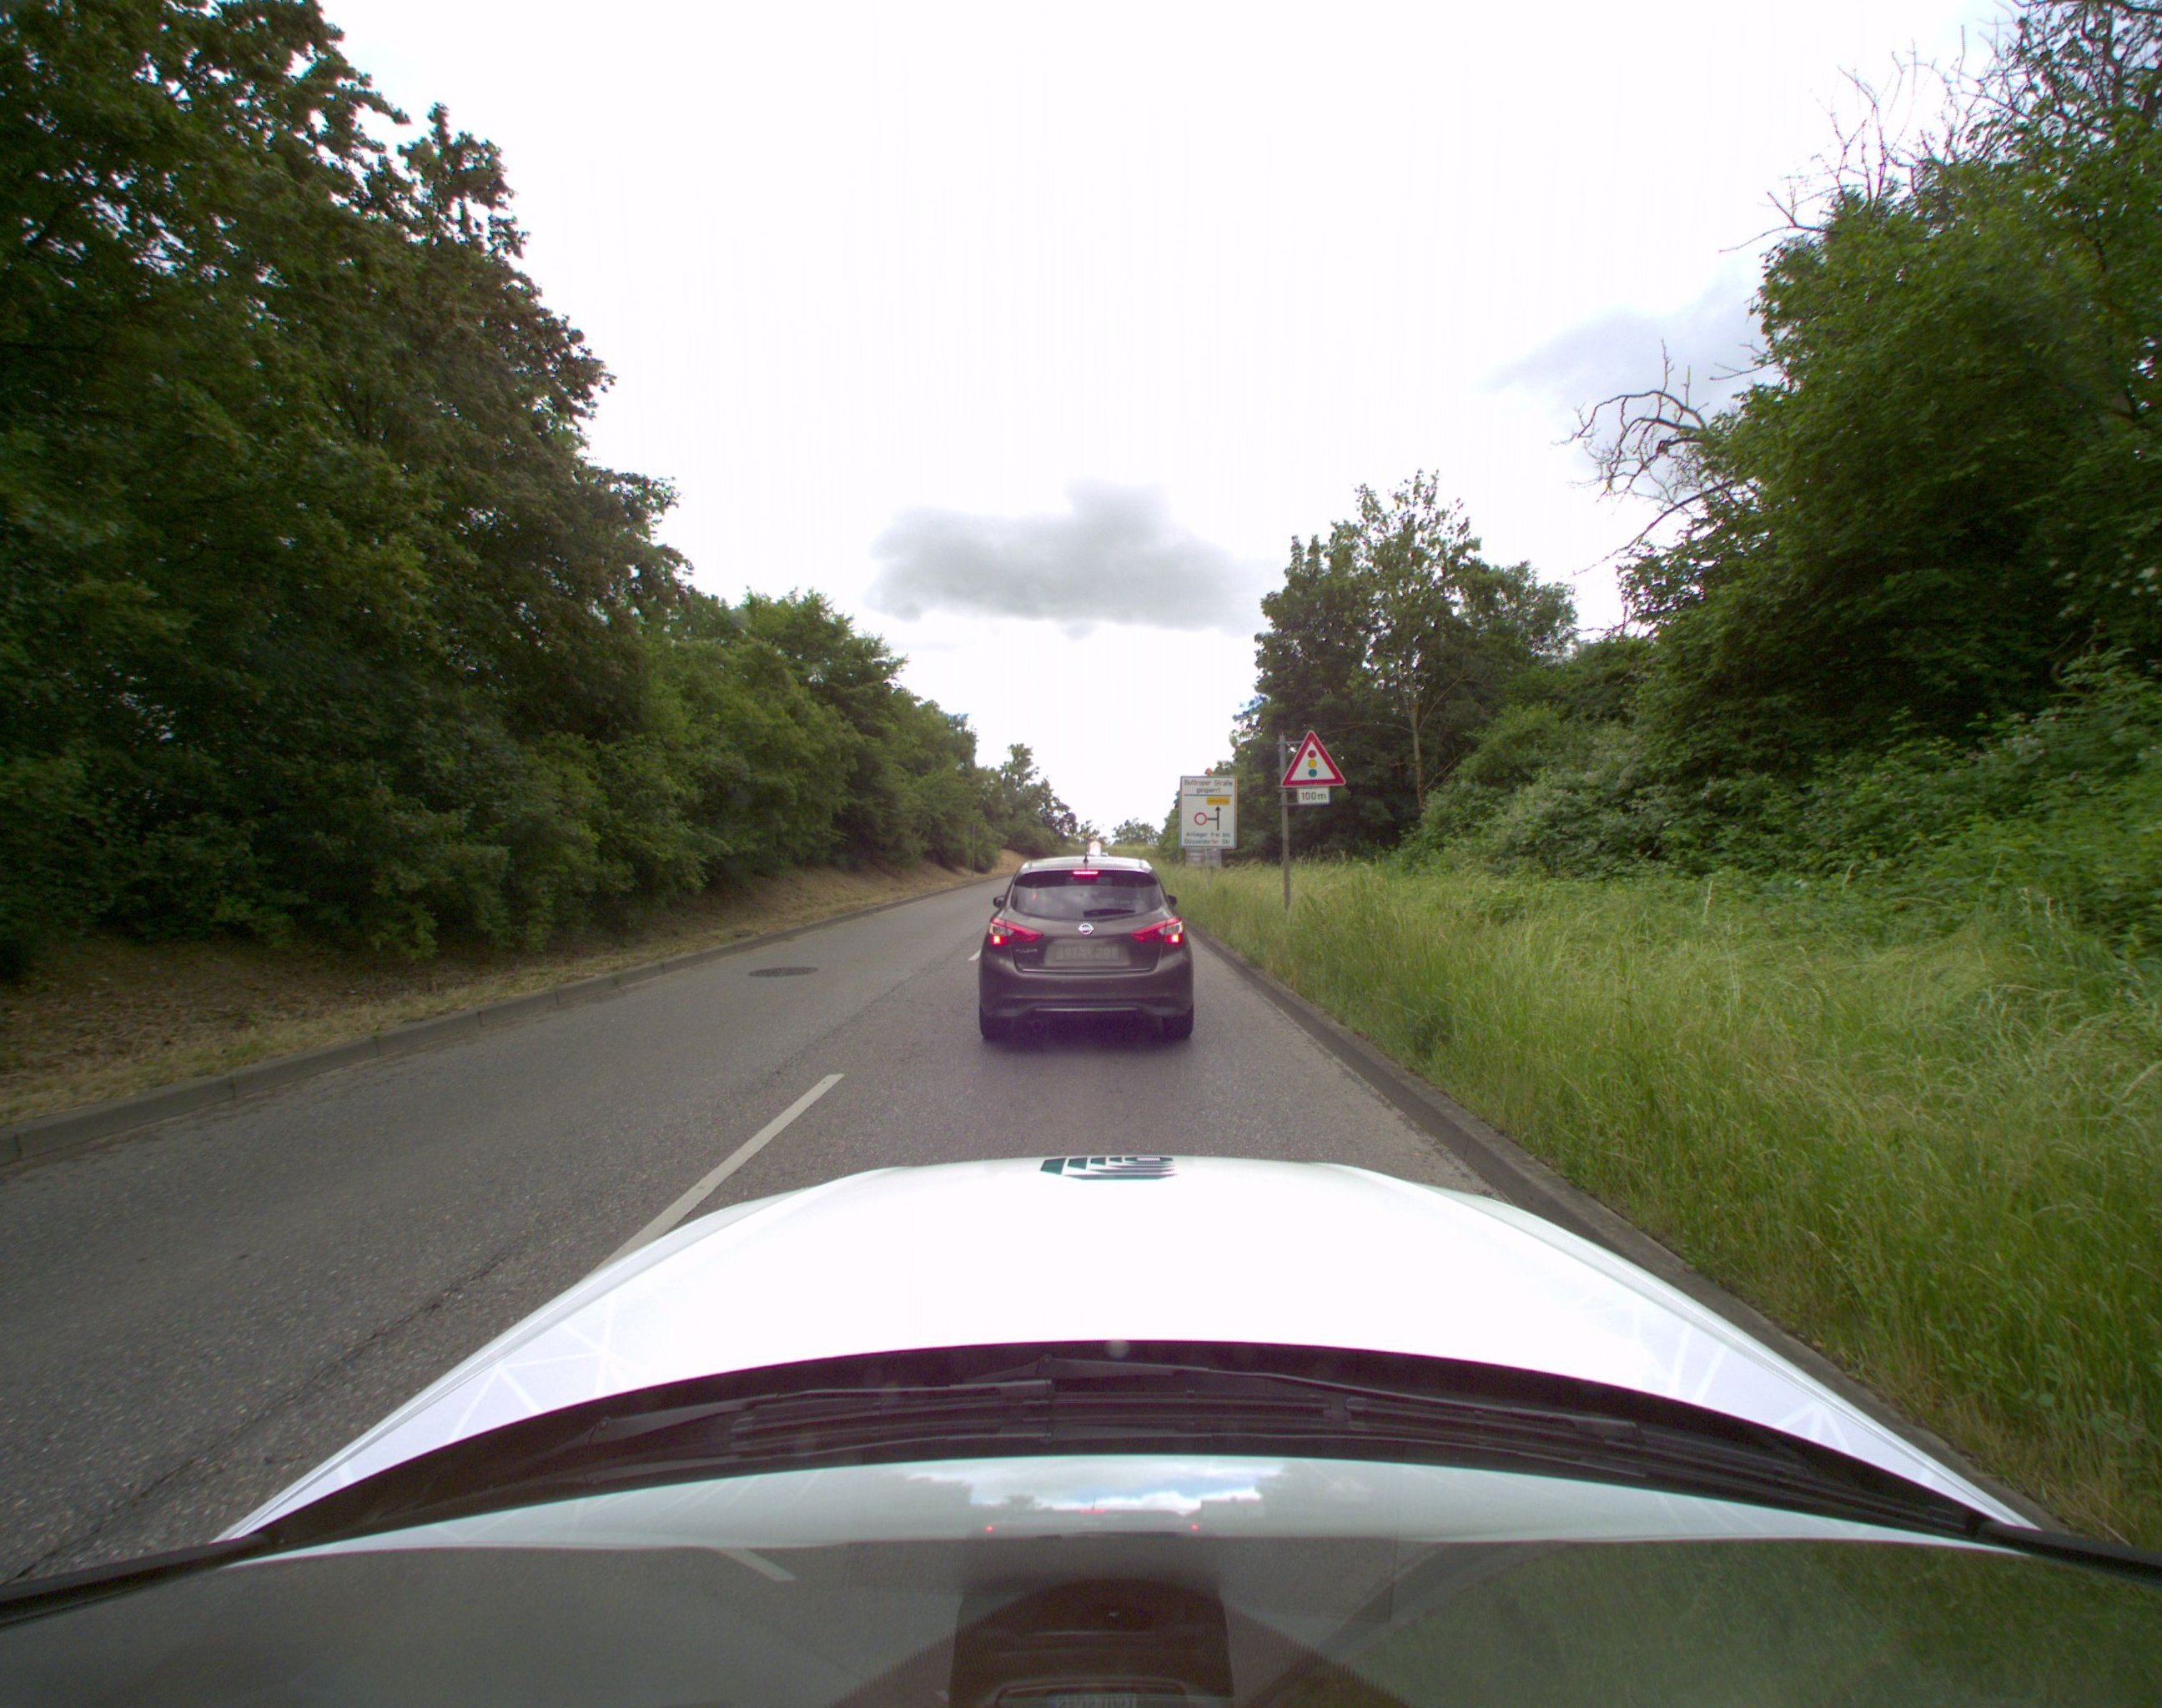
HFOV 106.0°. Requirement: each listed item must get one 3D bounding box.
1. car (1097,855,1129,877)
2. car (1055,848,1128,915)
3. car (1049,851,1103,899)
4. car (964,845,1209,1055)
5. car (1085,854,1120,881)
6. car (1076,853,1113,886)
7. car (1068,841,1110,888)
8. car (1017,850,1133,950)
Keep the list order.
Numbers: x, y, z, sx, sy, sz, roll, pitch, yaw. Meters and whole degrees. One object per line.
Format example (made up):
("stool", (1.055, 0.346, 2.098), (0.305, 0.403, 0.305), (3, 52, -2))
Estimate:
("car", (2.332, 0.846, 58.759), (1.724, 1.526, 3.653), (-1, 0, 12))
("car", (0.318, 0.663, 21.362), (1.729, 1.556, 3.545), (-1, 0, 2))
("car", (-0.115, 0.705, 29.091), (1.729, 1.556, 3.545), (-1, 0, 2))
("car", (0.043, 0.718, 7.869), (1.824, 1.556, 3.498), (-1, 0, 0))
("car", (1.328, 0.789, 49.239), (1.726, 1.526, 3.649), (-1, 0, 7))
("car", (0.678, 0.757, 41.621), (1.730, 1.526, 3.543), (-1, 0, 0))
("car", (0.415, 0.447, 36.258), (1.729, 1.935, 3.545), (-1, 0, 2))
("car", (-0.030, 0.730, 14.806), (1.823, 1.556, 3.626), (-1, 0, 2))
